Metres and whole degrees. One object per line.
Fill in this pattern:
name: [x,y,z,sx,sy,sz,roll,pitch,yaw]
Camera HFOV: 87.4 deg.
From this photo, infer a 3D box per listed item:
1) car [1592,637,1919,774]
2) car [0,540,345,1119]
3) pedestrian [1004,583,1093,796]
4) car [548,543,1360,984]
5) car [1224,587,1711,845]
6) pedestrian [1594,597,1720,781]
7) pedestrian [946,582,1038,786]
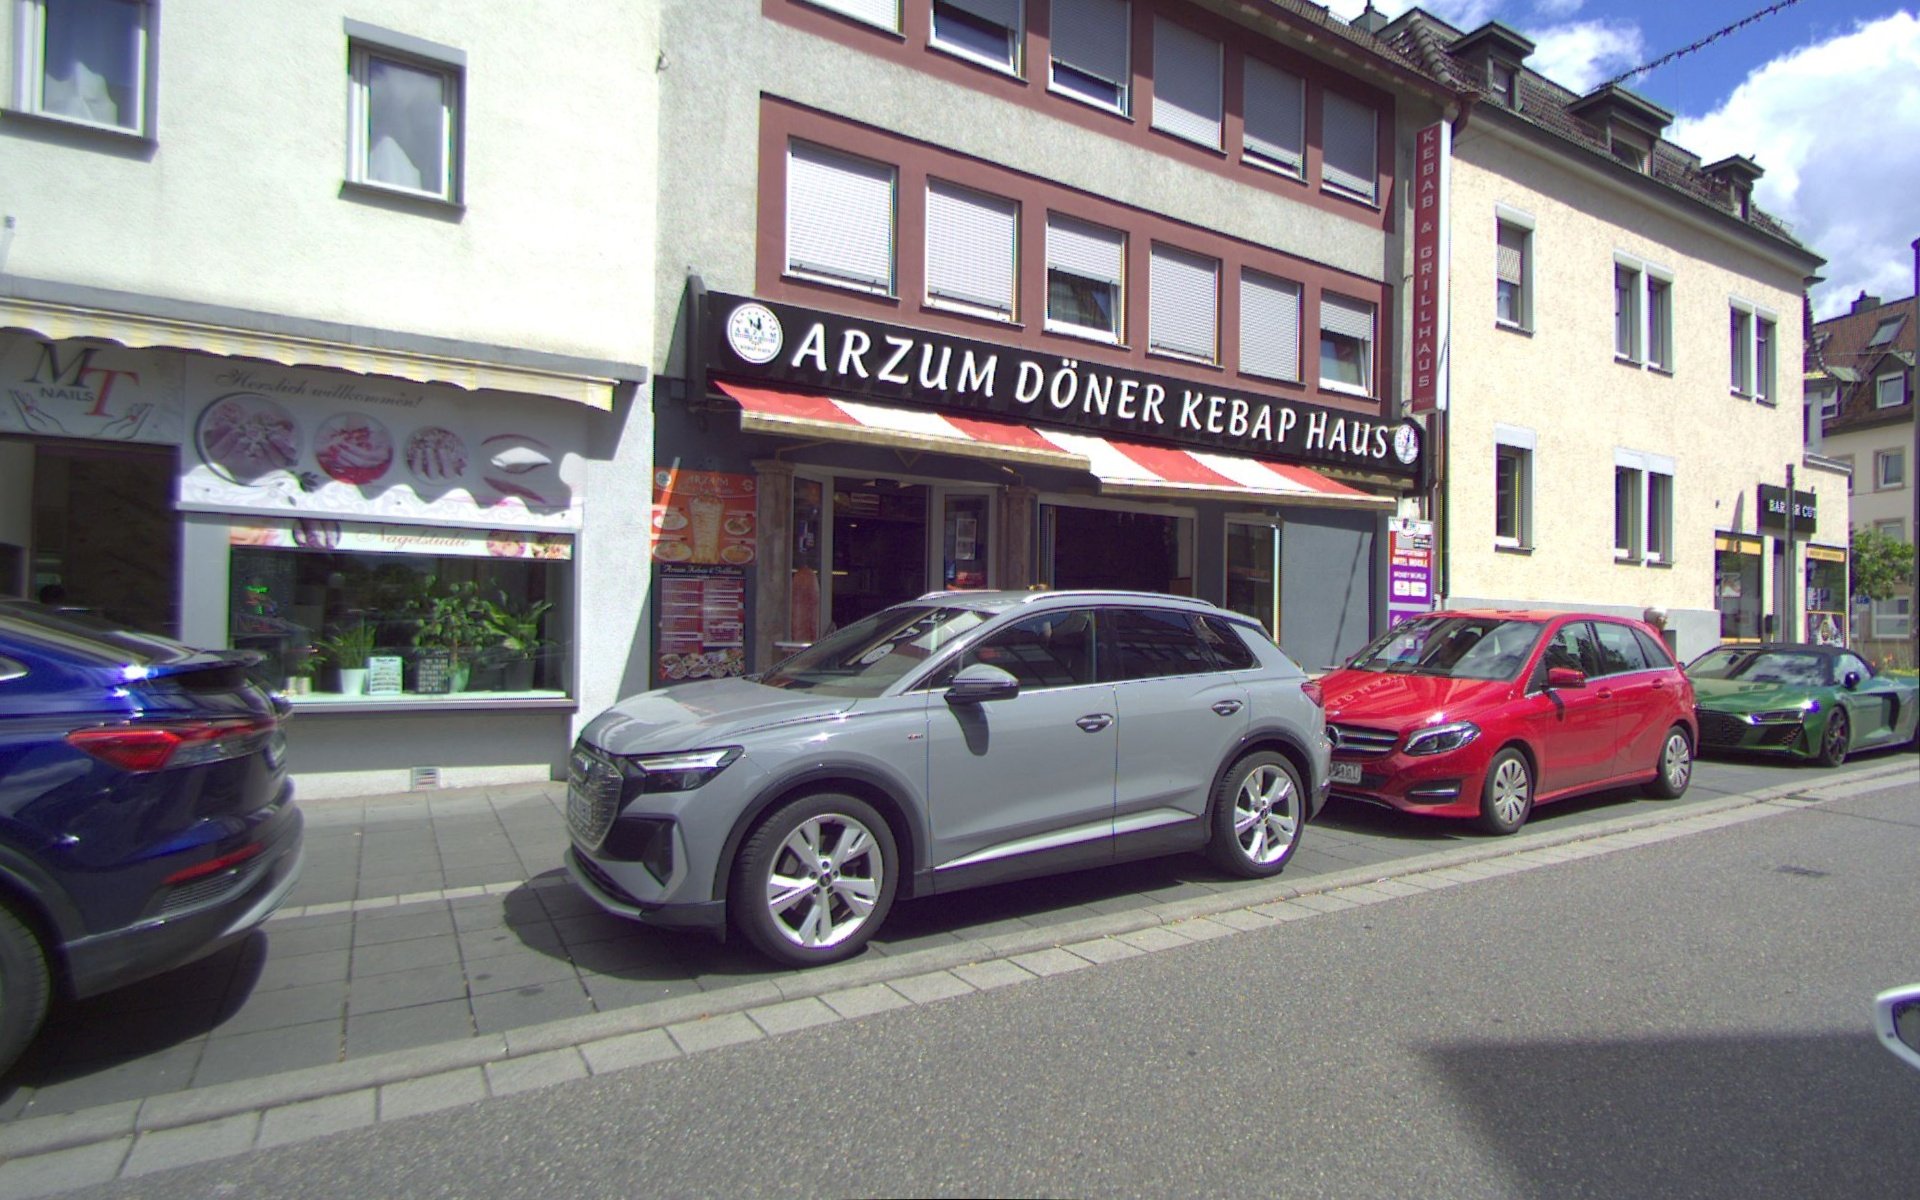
car: [9.485,1.093,11.642,4.471,1.240,1.810,1,1,-31]
car: [-4.353,0.623,2.870,4.337,1.619,1.791,1,-1,-30]
pedestrian: [0.720,0.705,8.198,0.466,1.670,0.511,2,0,-32]
car: [0.139,0.661,5.645,4.304,1.625,1.789,1,-2,-33]
car: [4.278,0.790,8.263,4.174,1.625,1.788,1,-2,-34]
pedestrian: [6.658,0.821,9.608,0.769,1.670,0.683,2,0,-28]
pedestrian: [0.266,0.693,8.577,0.567,1.670,0.499,2,0,-29]
